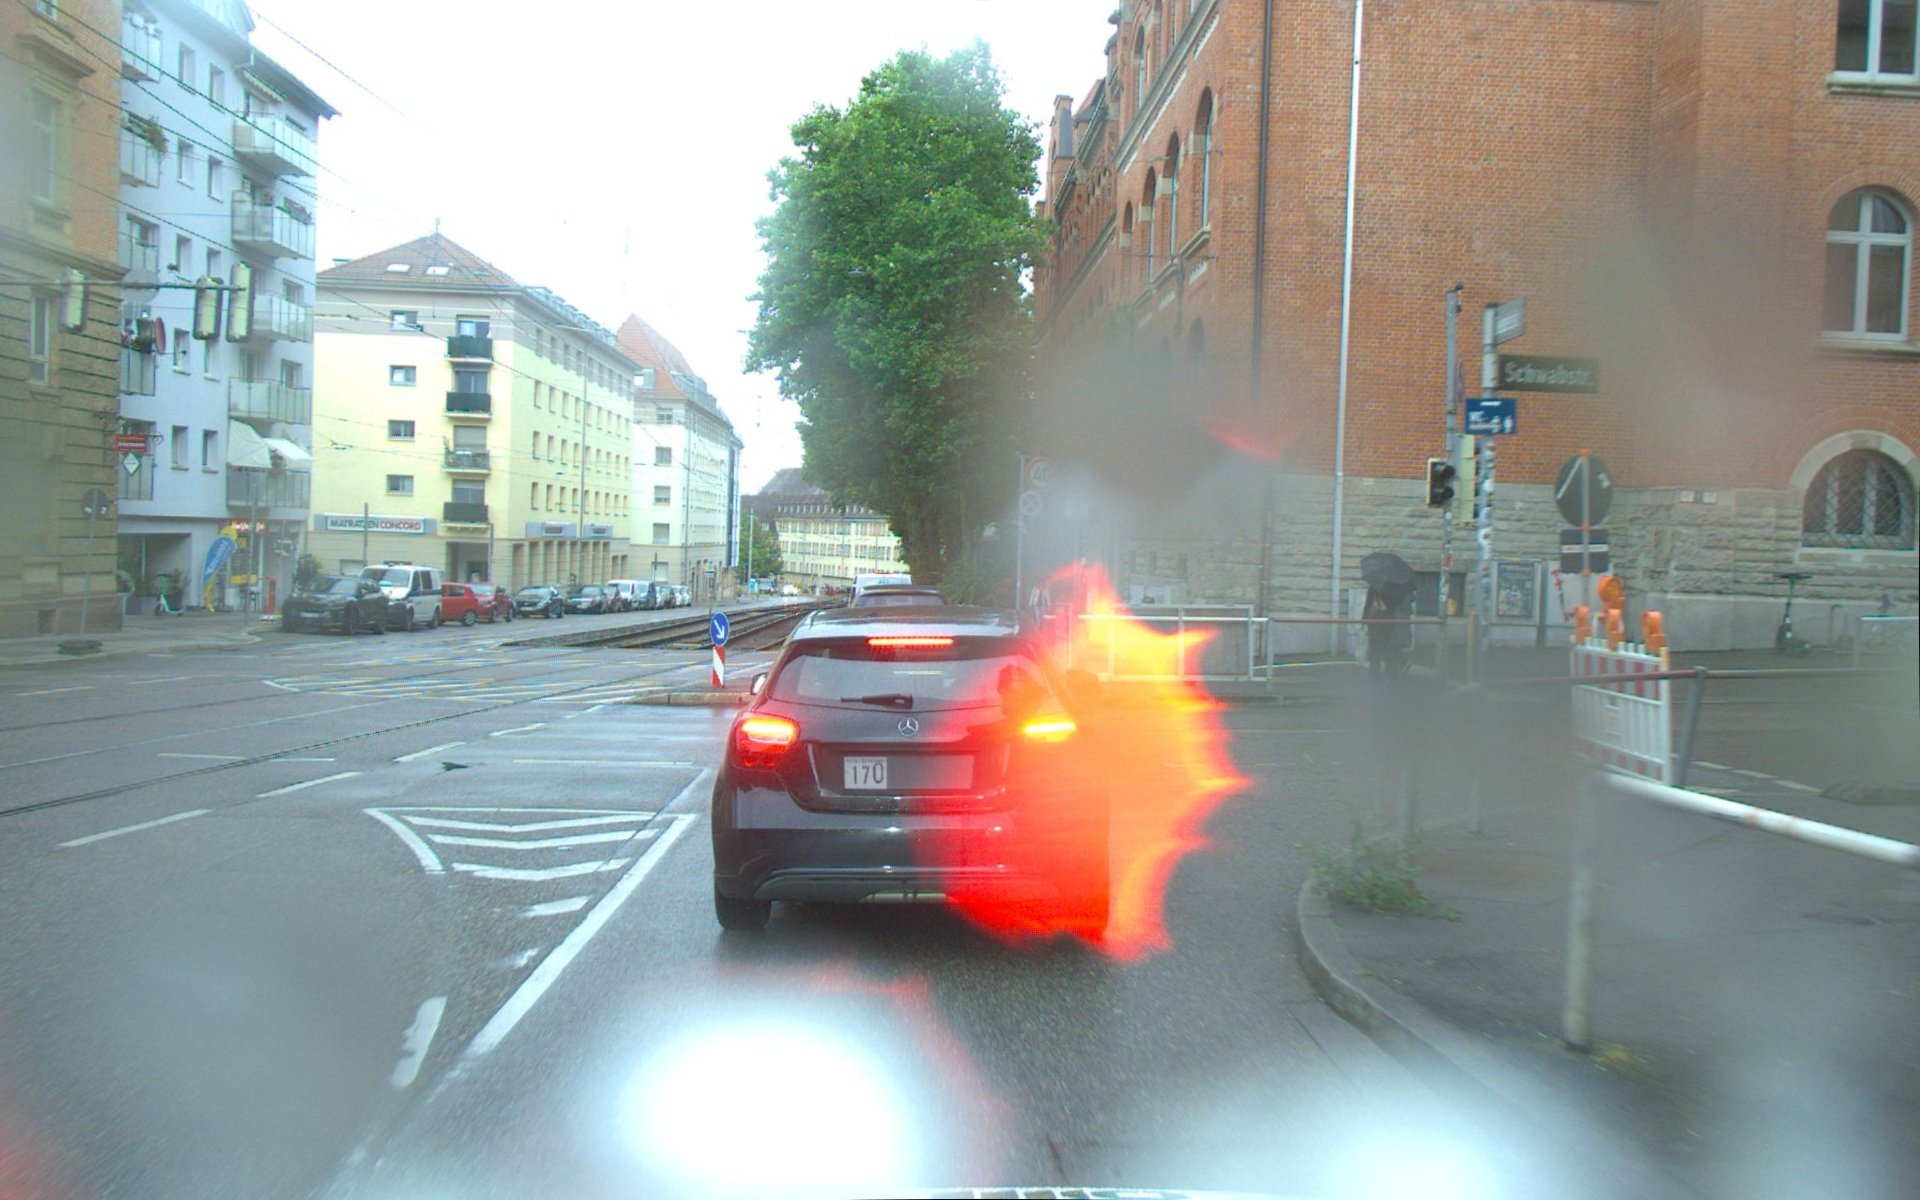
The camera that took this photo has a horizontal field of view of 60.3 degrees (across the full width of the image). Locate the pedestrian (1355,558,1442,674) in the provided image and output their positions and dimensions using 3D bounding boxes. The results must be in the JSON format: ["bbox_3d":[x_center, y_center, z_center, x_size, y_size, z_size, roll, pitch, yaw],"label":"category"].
[{"bbox_3d":[6.415,0.229,24.244,0.939,1.654,1.073,0,0,-3],"label":"pedestrian"}]

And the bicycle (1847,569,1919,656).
[{"bbox_3d":[14.813,0.180,26.300,0.405,1.222,1.667,-2,5,-4],"label":"bicycle"}]

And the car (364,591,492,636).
[{"bbox_3d":[-18.213,0.477,56.774,1.747,1.459,3.973,2,0,31],"label":"car"}]

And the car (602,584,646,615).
[{"bbox_3d":[-19.682,-0.016,97.062,1.829,1.747,4.458,1,0,-2],"label":"car"}]

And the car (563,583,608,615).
[{"bbox_3d":[-19.290,-0.051,85.339,1.816,1.534,4.983,1,0,-8],"label":"car"}]

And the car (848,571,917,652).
[{"bbox_3d":[-2.109,0.294,44.367,1.706,2.049,3.900,1,0,-4],"label":"car"}]

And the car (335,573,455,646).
[{"bbox_3d":[-17.691,0.258,52.046,2.029,2.044,5.299,4,0,-3],"label":"car"}]

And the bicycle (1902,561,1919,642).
[{"bbox_3d":[15.794,0.091,26.386,0.336,1.265,1.840,-2,6,-4],"label":"bicycle"}]

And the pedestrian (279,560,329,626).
[{"bbox_3d":[-20.076,-0.204,50.626,1.150,1.962,1.175,2,0,-10],"label":"pedestrian"}]

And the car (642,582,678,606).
[{"bbox_3d":[-20.413,-0.424,112.566,1.777,1.525,4.580,2,0,-3],"label":"car"}]

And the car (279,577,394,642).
[{"bbox_3d":[-17.242,0.245,45.926,1.698,1.680,4.361,2,0,-3],"label":"car"}]

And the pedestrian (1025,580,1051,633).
[{"bbox_3d":[2.575,0.208,54.694,0.806,1.708,0.860,1,0,0],"label":"pedestrian"}]

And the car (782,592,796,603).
[{"bbox_3d":[-23.358,-0.394,226.594,1.678,1.488,4.278,0,0,-3],"label":"car"}]

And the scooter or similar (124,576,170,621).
[{"bbox_3d":[-22.810,-0.042,46.400,1.070,1.230,0.315,-2,0,-14],"label":"scooter or similar"}]

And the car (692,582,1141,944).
[{"bbox_3d":[-0.280,0.661,8.648,1.758,1.399,3.997,2,0,-3],"label":"car"}]

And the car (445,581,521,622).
[{"bbox_3d":[-18.063,0.041,62.797,1.619,1.477,4.074,1,0,1],"label":"car"}]

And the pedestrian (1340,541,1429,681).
[{"bbox_3d":[5.986,0.149,23.358,0.939,1.920,1.073,0,0,-3],"label":"pedestrian"}]

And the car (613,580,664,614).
[{"bbox_3d":[-19.981,-0.192,102.930,1.952,1.938,5.460,3,0,1],"label":"car"}]

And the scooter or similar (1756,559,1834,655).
[{"bbox_3d":[13.270,0.086,26.322,0.400,1.443,1.518,0,3,-1],"label":"scooter or similar"}]

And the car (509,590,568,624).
[{"bbox_3d":[-18.274,0.300,71.939,1.646,1.420,4.619,1,0,-4],"label":"car"}]

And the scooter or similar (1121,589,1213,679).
[{"bbox_3d":[3.008,0.488,23.970,1.220,1.272,0.638,0,0,19],"label":"scooter or similar"}]

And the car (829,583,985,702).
[{"bbox_3d":[-0.846,0.547,23.441,1.896,1.478,4.312,2,0,-6],"label":"car"}]
